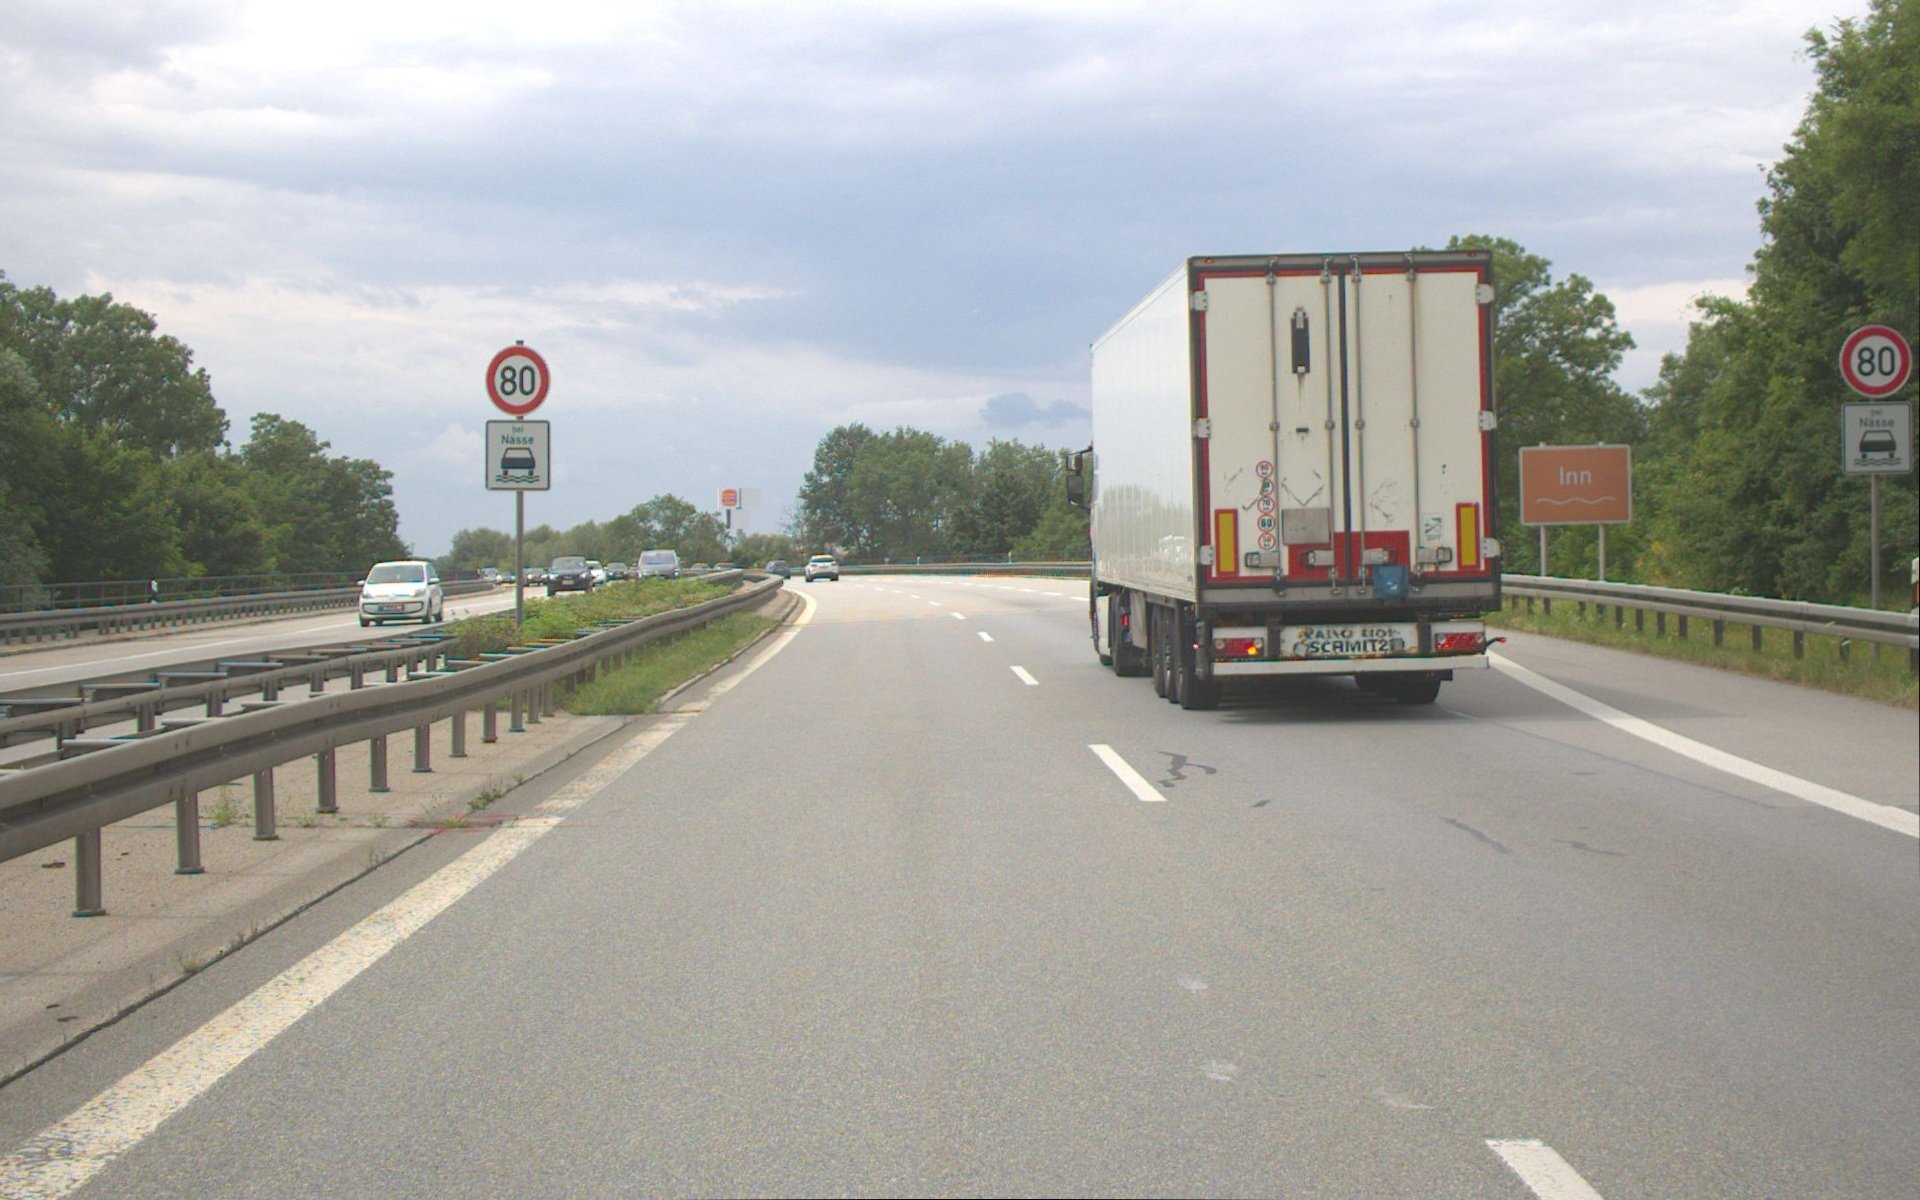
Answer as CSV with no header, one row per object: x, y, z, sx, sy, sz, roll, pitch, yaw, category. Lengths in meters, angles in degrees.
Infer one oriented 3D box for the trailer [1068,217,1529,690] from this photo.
3.045,-1.321,35.595,3.062,3.877,13.791,-1,1,-1,trailer

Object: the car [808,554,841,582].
-8.627,-2.008,218.078,1.902,1.634,4.396,-2,0,-4,car

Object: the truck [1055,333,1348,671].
2.899,-1.186,43.073,3.062,3.878,6.000,-1,1,-1,truck

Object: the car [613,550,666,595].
-12.712,-1.110,136.540,1.725,1.645,4.223,-1,2,-1,car

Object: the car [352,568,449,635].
-13.156,0.022,80.962,1.650,1.487,4.283,-1,1,-1,car

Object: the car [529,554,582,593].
-16.896,-1.111,143.836,1.729,1.554,4.332,-2,1,-1,car
